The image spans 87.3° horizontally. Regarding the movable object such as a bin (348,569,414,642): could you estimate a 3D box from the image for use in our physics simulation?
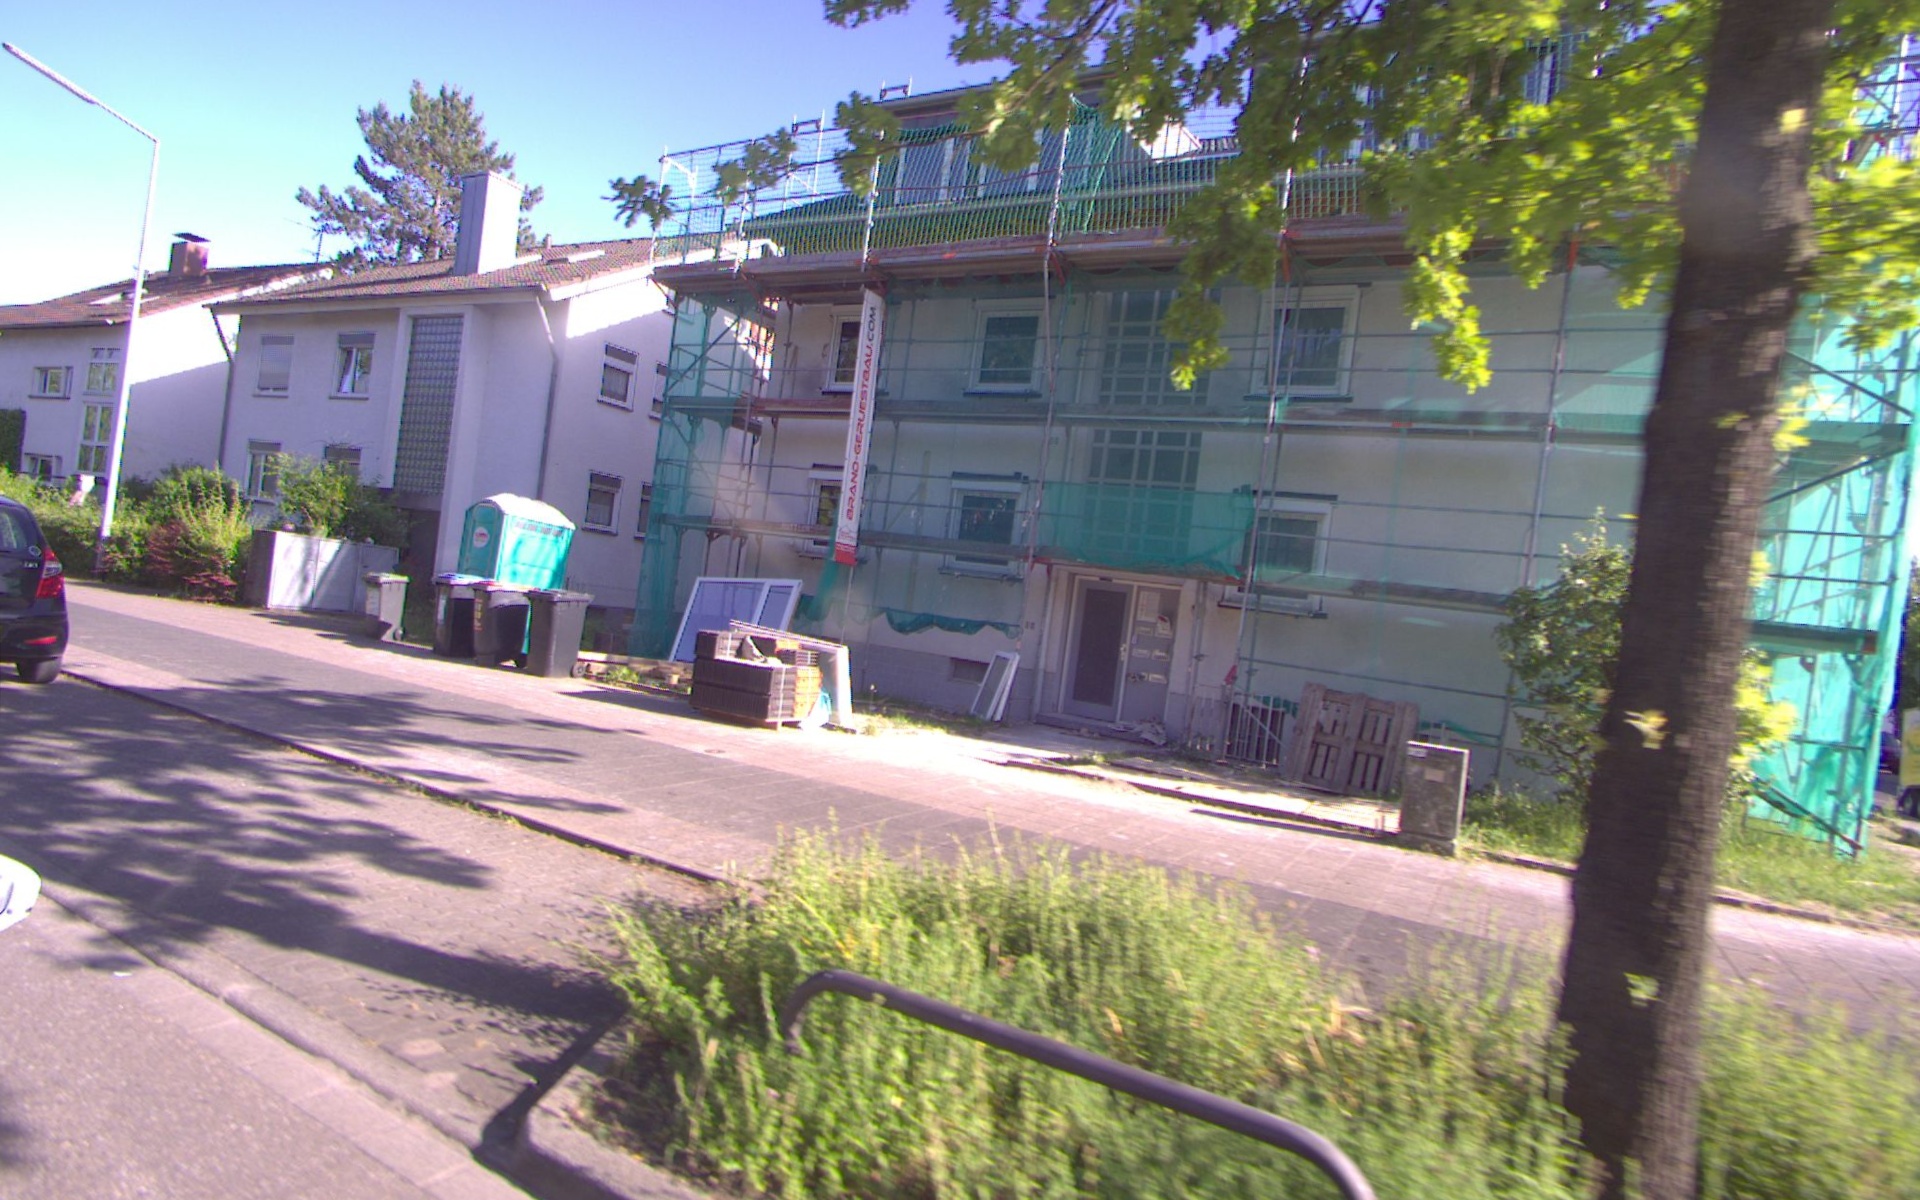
[{"bbox_3d":[-8.265,0.081,14.370,0.540,0.943,0.530,6,-1,29],"label":"movable object such as a bin"}]

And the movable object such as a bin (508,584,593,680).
[{"bbox_3d":[-5.062,0.400,12.436,0.635,1.082,0.605,6,-1,29],"label":"movable object such as a bin"}]

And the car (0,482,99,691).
[{"bbox_3d":[-9.049,-0.285,8.365,3.688,1.599,1.674,6,1,30],"label":"car"}]

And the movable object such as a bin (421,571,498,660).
[{"bbox_3d":[-6.643,0.214,13.366,0.557,1.082,0.605,6,0,29],"label":"movable object such as a bin"}]

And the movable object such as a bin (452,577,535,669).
[{"bbox_3d":[-5.940,0.297,12.820,0.635,1.082,0.605,6,-1,29],"label":"movable object such as a bin"}]

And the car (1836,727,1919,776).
[{"bbox_3d":[43.446,7.127,47.722,1.856,1.903,3.921,8,-2,30],"label":"car"}]

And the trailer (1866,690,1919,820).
[{"bbox_3d":[20.316,3.220,20.054,2.050,2.563,4.965,7,-1,29],"label":"trailer"}]
